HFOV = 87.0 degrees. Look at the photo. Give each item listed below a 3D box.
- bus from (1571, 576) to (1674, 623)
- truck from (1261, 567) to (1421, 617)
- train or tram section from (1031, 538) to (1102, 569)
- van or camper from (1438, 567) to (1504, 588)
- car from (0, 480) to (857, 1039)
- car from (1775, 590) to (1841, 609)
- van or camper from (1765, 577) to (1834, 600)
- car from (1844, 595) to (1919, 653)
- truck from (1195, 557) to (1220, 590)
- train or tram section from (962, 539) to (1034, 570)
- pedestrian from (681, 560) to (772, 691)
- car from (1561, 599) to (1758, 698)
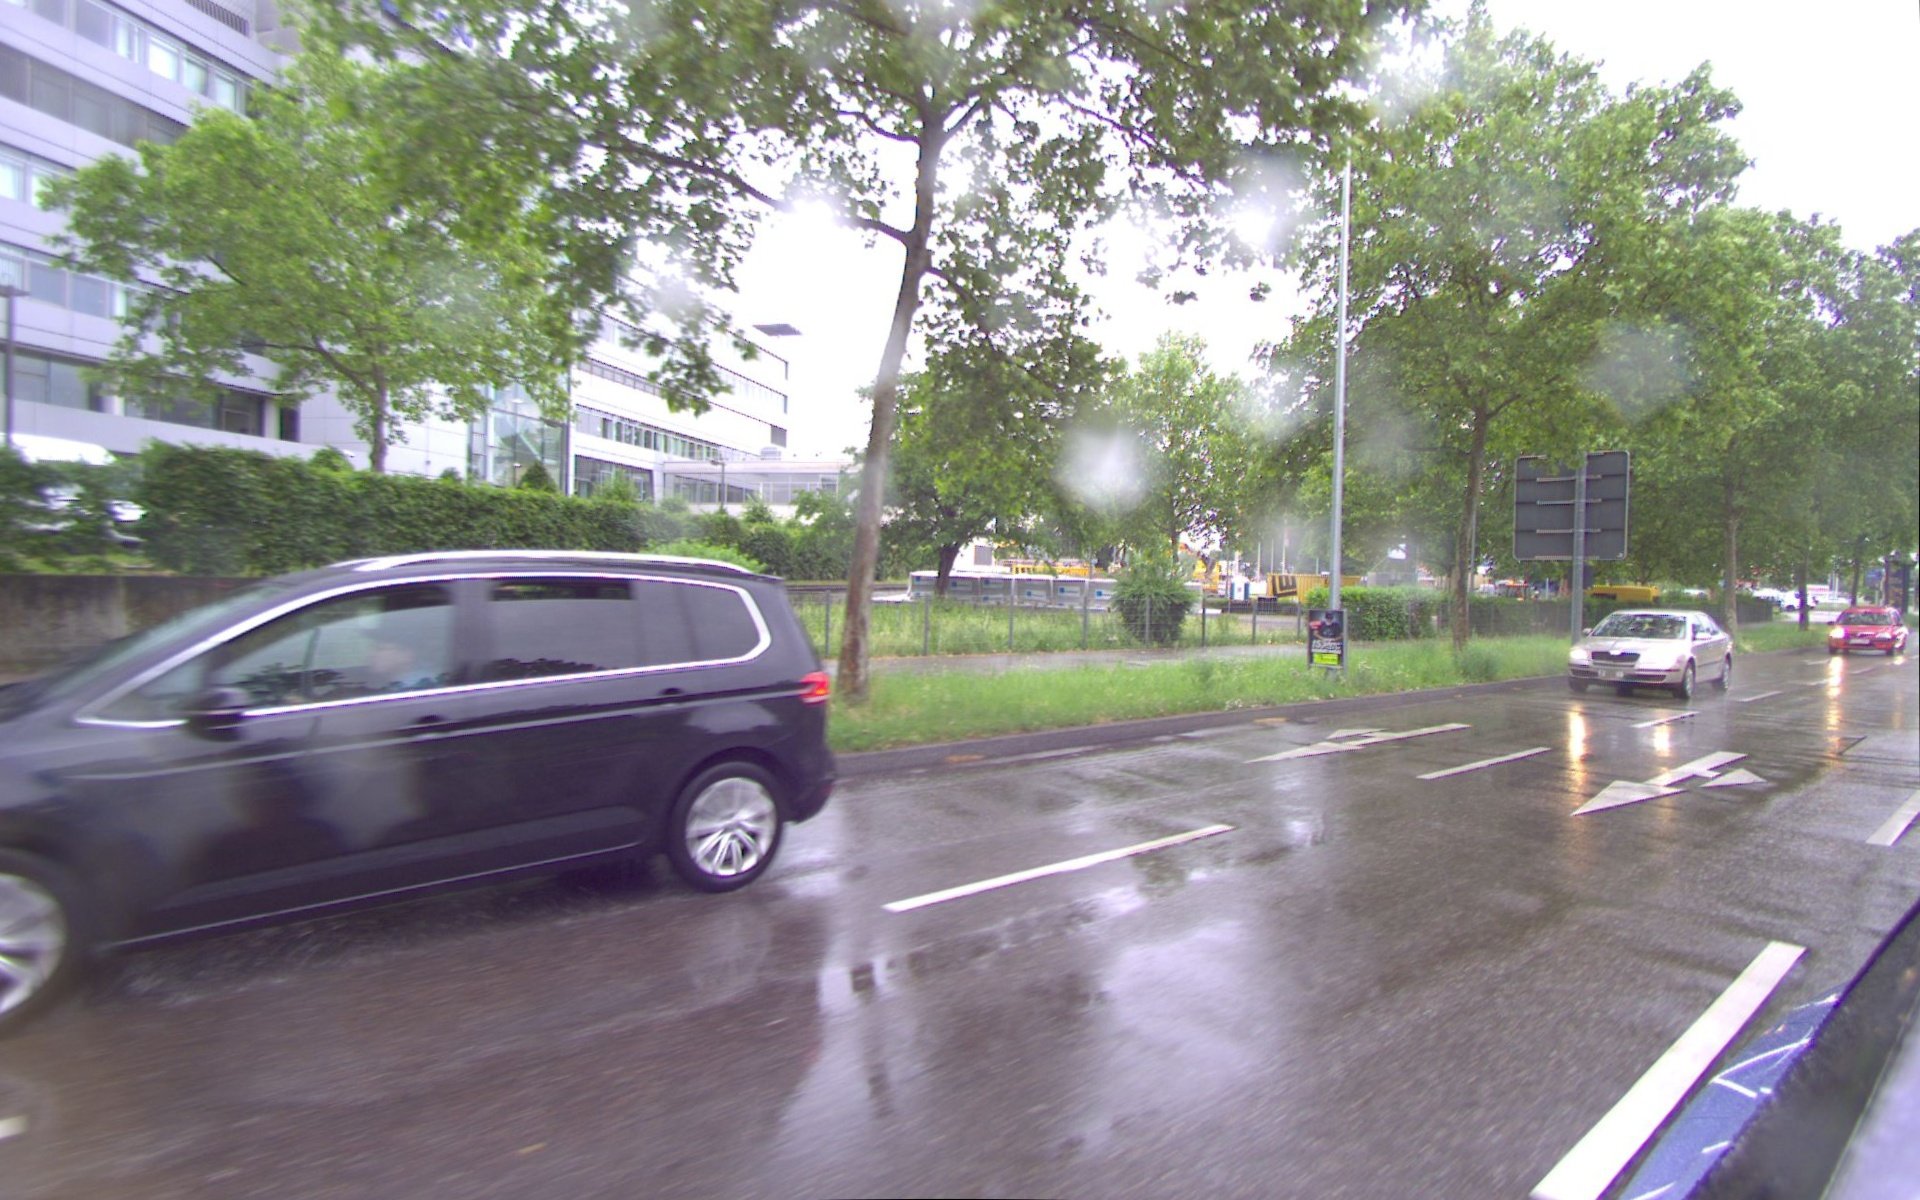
[{"bbox_3d":[39.994,-0.091,61.189,1.964,2.680,4.803,0,1,-40],"label":"bus"},{"bbox_3d":[24.525,-0.544,65.715,9.359,3.069,3.070,0,1,14],"label":"truck"},{"bbox_3d":[12.719,-5.495,120.639,8.238,3.563,2.393,0,1,11],"label":"train or tram section"},{"bbox_3d":[80.369,-3.563,159.402,8.846,3.196,2.976,0,1,14],"label":"van or camper"},{"bbox_3d":[-2.691,0.477,4.709,4.119,1.748,1.859,0,1,-42],"label":"car"},{"bbox_3d":[81.478,-0.054,97.266,4.391,1.693,1.863,2,2,11],"label":"car"},{"bbox_3d":[82.941,-1.132,100.073,4.830,2.114,1.863,2,2,11],"label":"van or camper"},{"bbox_3d":[31.663,0.769,34.458,4.478,1.791,1.699,0,2,-41],"label":"car"},{"bbox_3d":[26.445,-2.884,108.369,2.459,3.386,9.434,0,2,13],"label":"truck"},{"bbox_3d":[4.570,-5.464,122.249,8.395,3.563,2.393,0,1,11],"label":"train or tram section"},{"bbox_3d":[-3.326,0.339,14.446,0.664,1.784,1.059,1,1,43],"label":"pedestrian"},{"bbox_3d":[12.291,0.748,17.679,4.310,1.448,1.806,0,2,-41],"label":"car"}]
